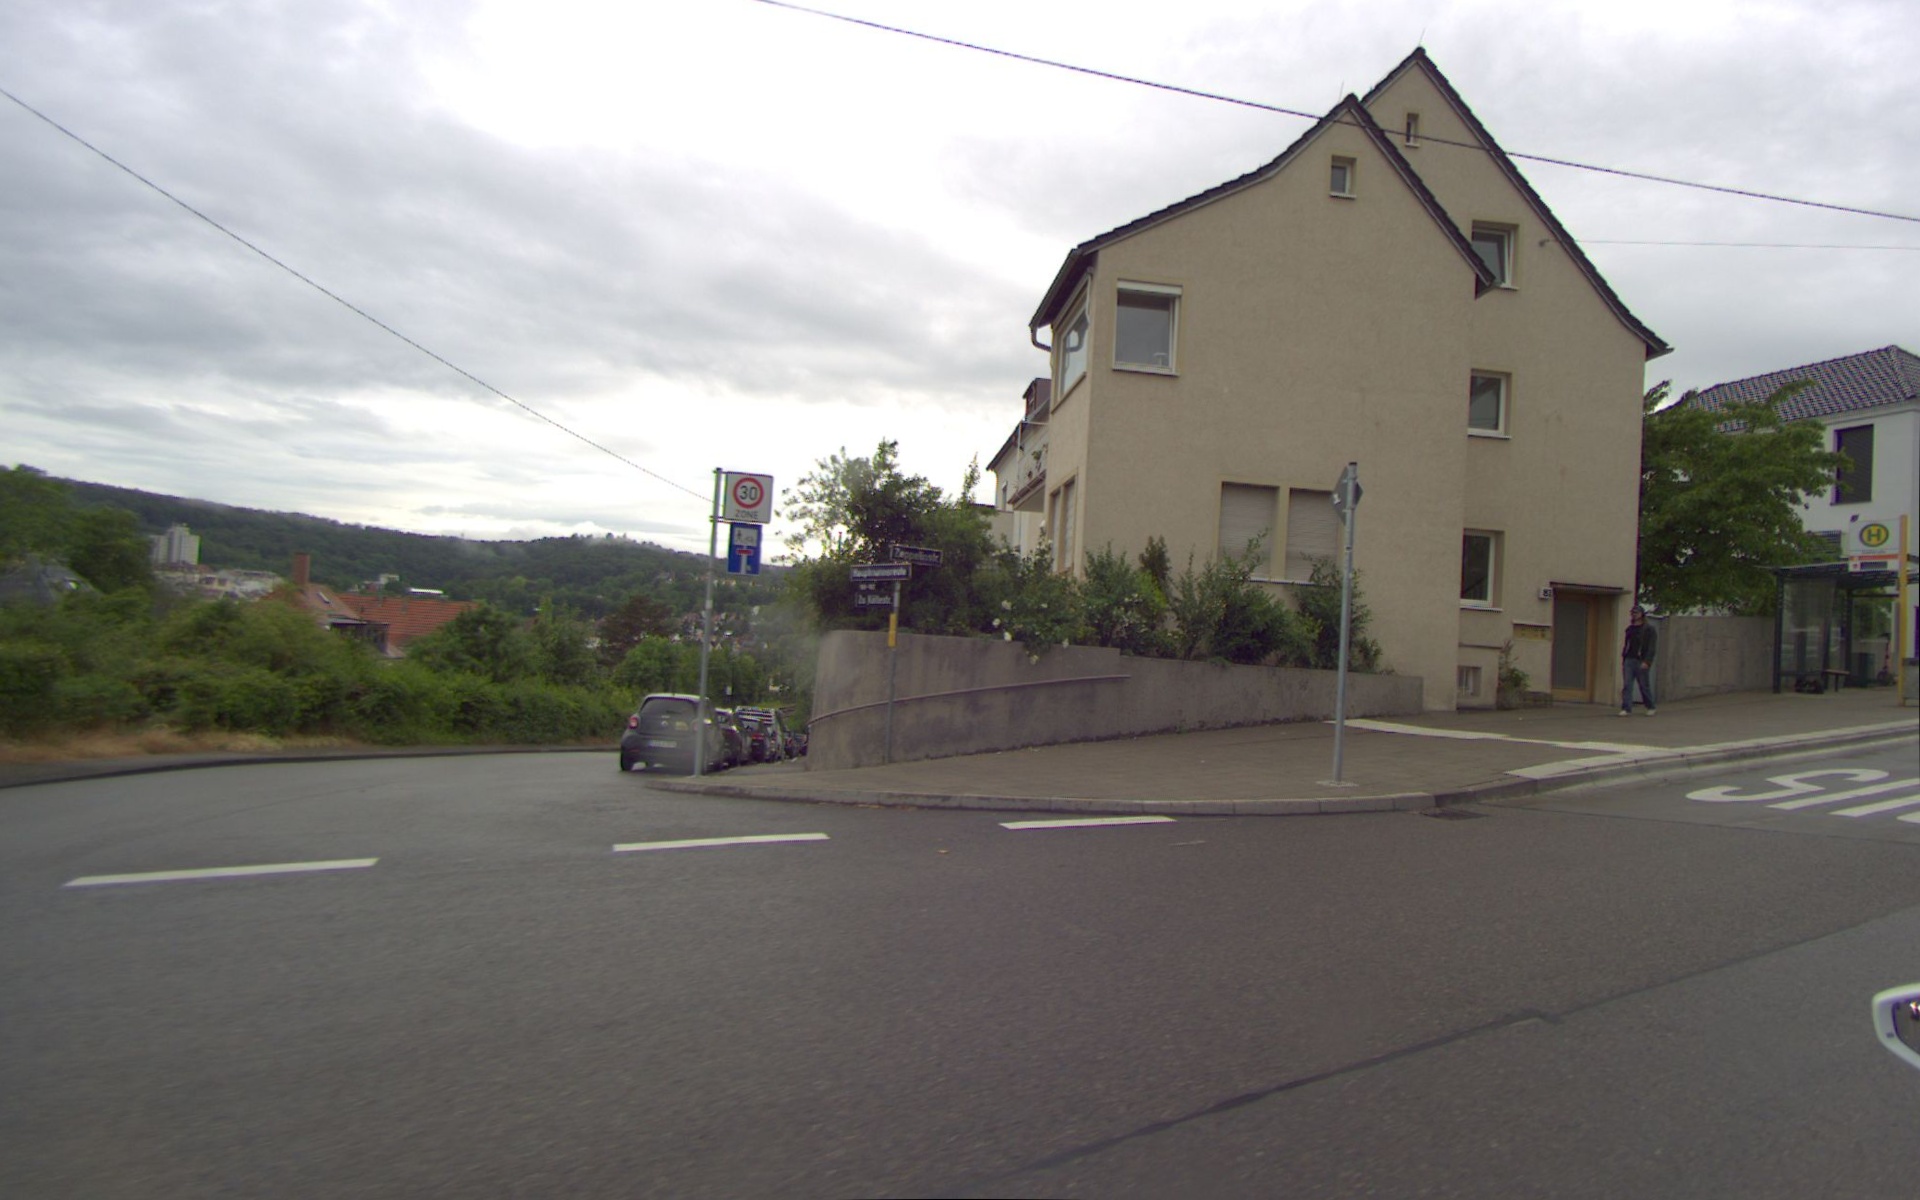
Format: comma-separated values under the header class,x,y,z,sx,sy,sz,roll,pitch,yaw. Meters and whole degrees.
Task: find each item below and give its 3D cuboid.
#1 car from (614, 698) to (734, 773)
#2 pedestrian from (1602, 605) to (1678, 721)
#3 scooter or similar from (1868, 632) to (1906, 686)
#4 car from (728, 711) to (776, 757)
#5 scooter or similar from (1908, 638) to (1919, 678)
class,x,y,z,sx,sy,sz,roll,pitch,yaw
car,-5.810,2.796,20.842,1.623,1.286,4.000,5,-8,-6
pedestrian,11.402,1.033,16.858,0.719,1.882,0.783,2,0,-30
scooter or similar,21.971,1.389,23.804,1.109,1.236,0.336,2,-1,-29
car,-7.902,5.120,38.415,1.670,1.661,3.202,1,-8,-10
scooter or similar,27.284,1.635,28.364,1.298,1.124,0.427,2,-1,-32
